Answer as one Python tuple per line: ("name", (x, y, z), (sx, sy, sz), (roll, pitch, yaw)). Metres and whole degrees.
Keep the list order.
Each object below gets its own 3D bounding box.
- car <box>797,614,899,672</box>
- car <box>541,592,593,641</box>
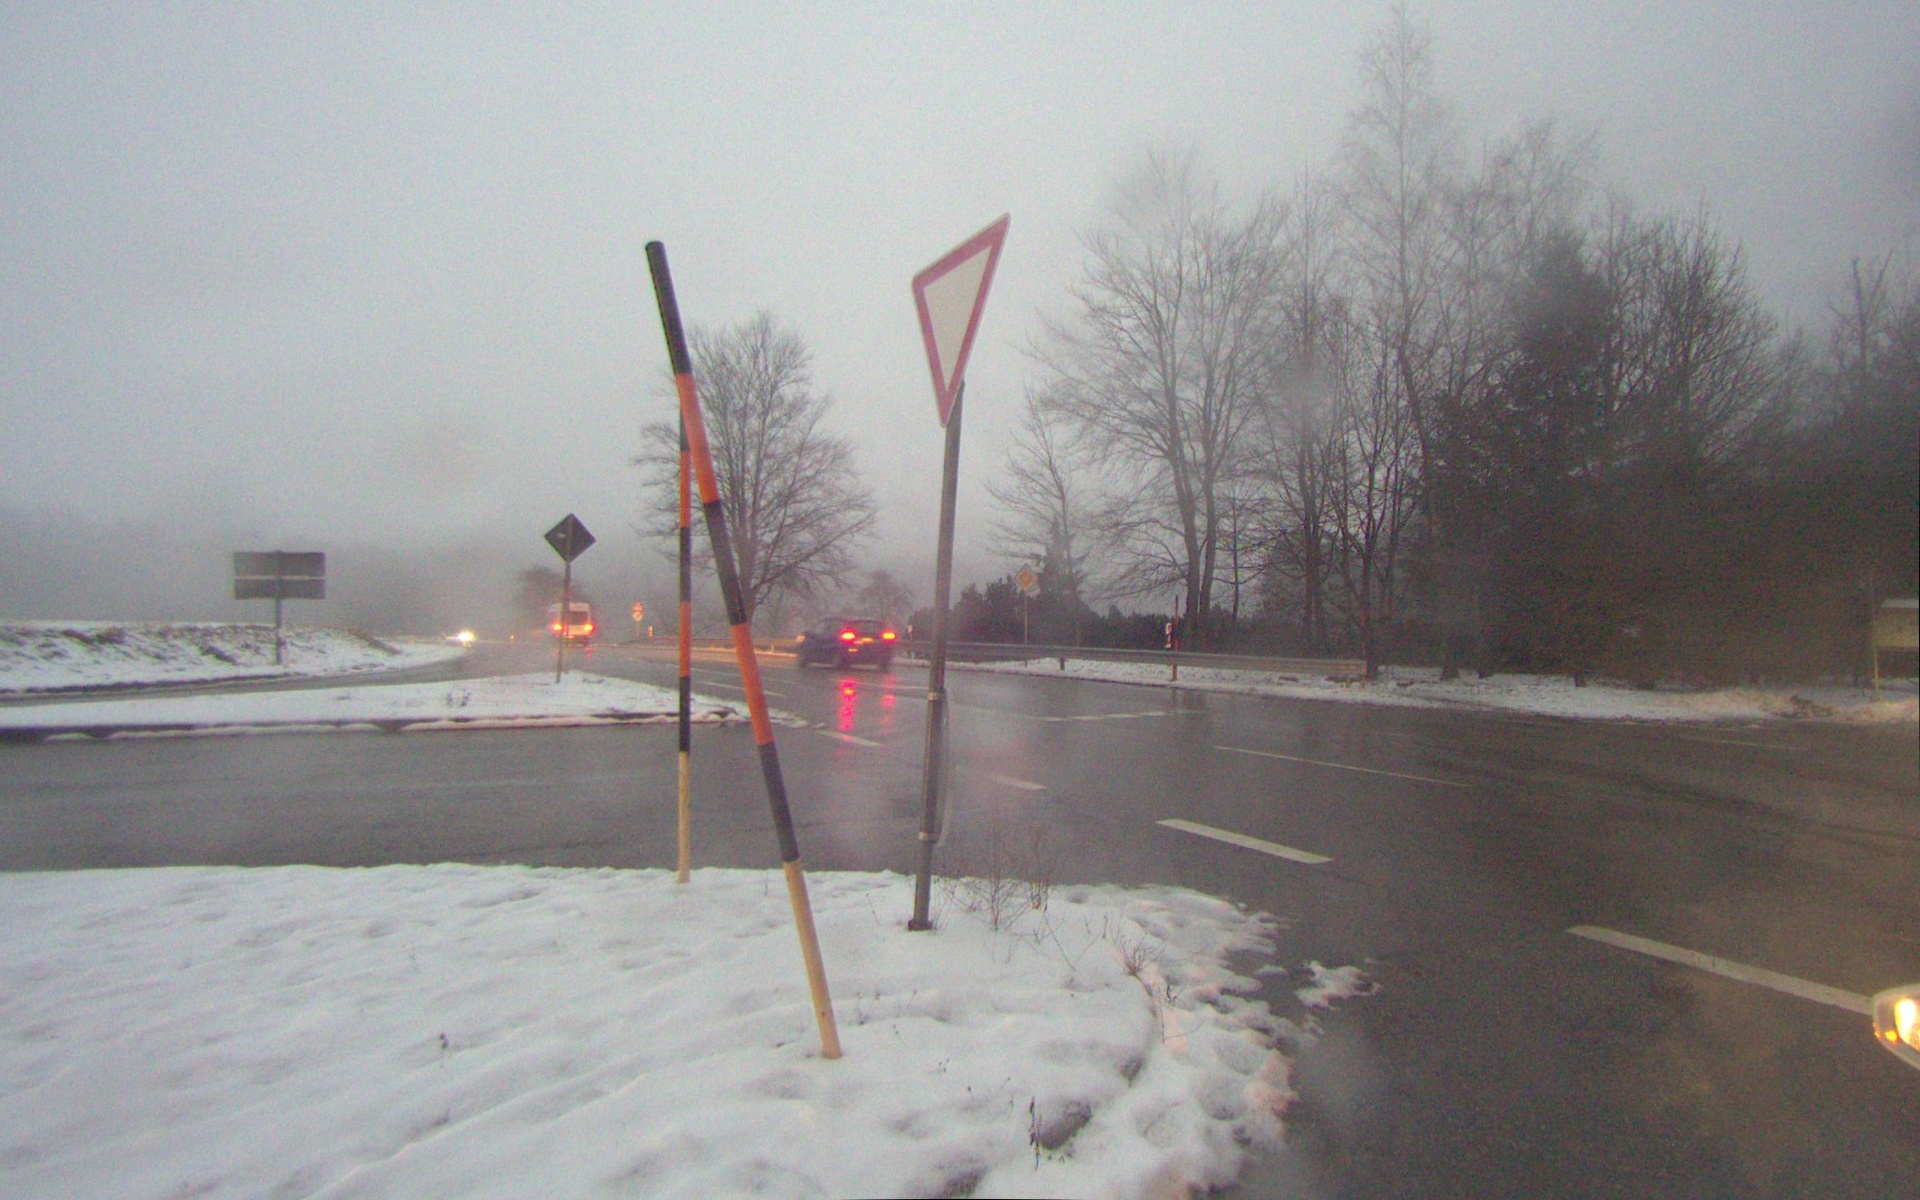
("car", (-3.332, 1.211, 29.290), (1.677, 1.572, 3.828), (2, -2, -28))
("car", (-24.794, 0.996, 63.269), (2.129, 2.731, 5.483), (3, 0, -31))
